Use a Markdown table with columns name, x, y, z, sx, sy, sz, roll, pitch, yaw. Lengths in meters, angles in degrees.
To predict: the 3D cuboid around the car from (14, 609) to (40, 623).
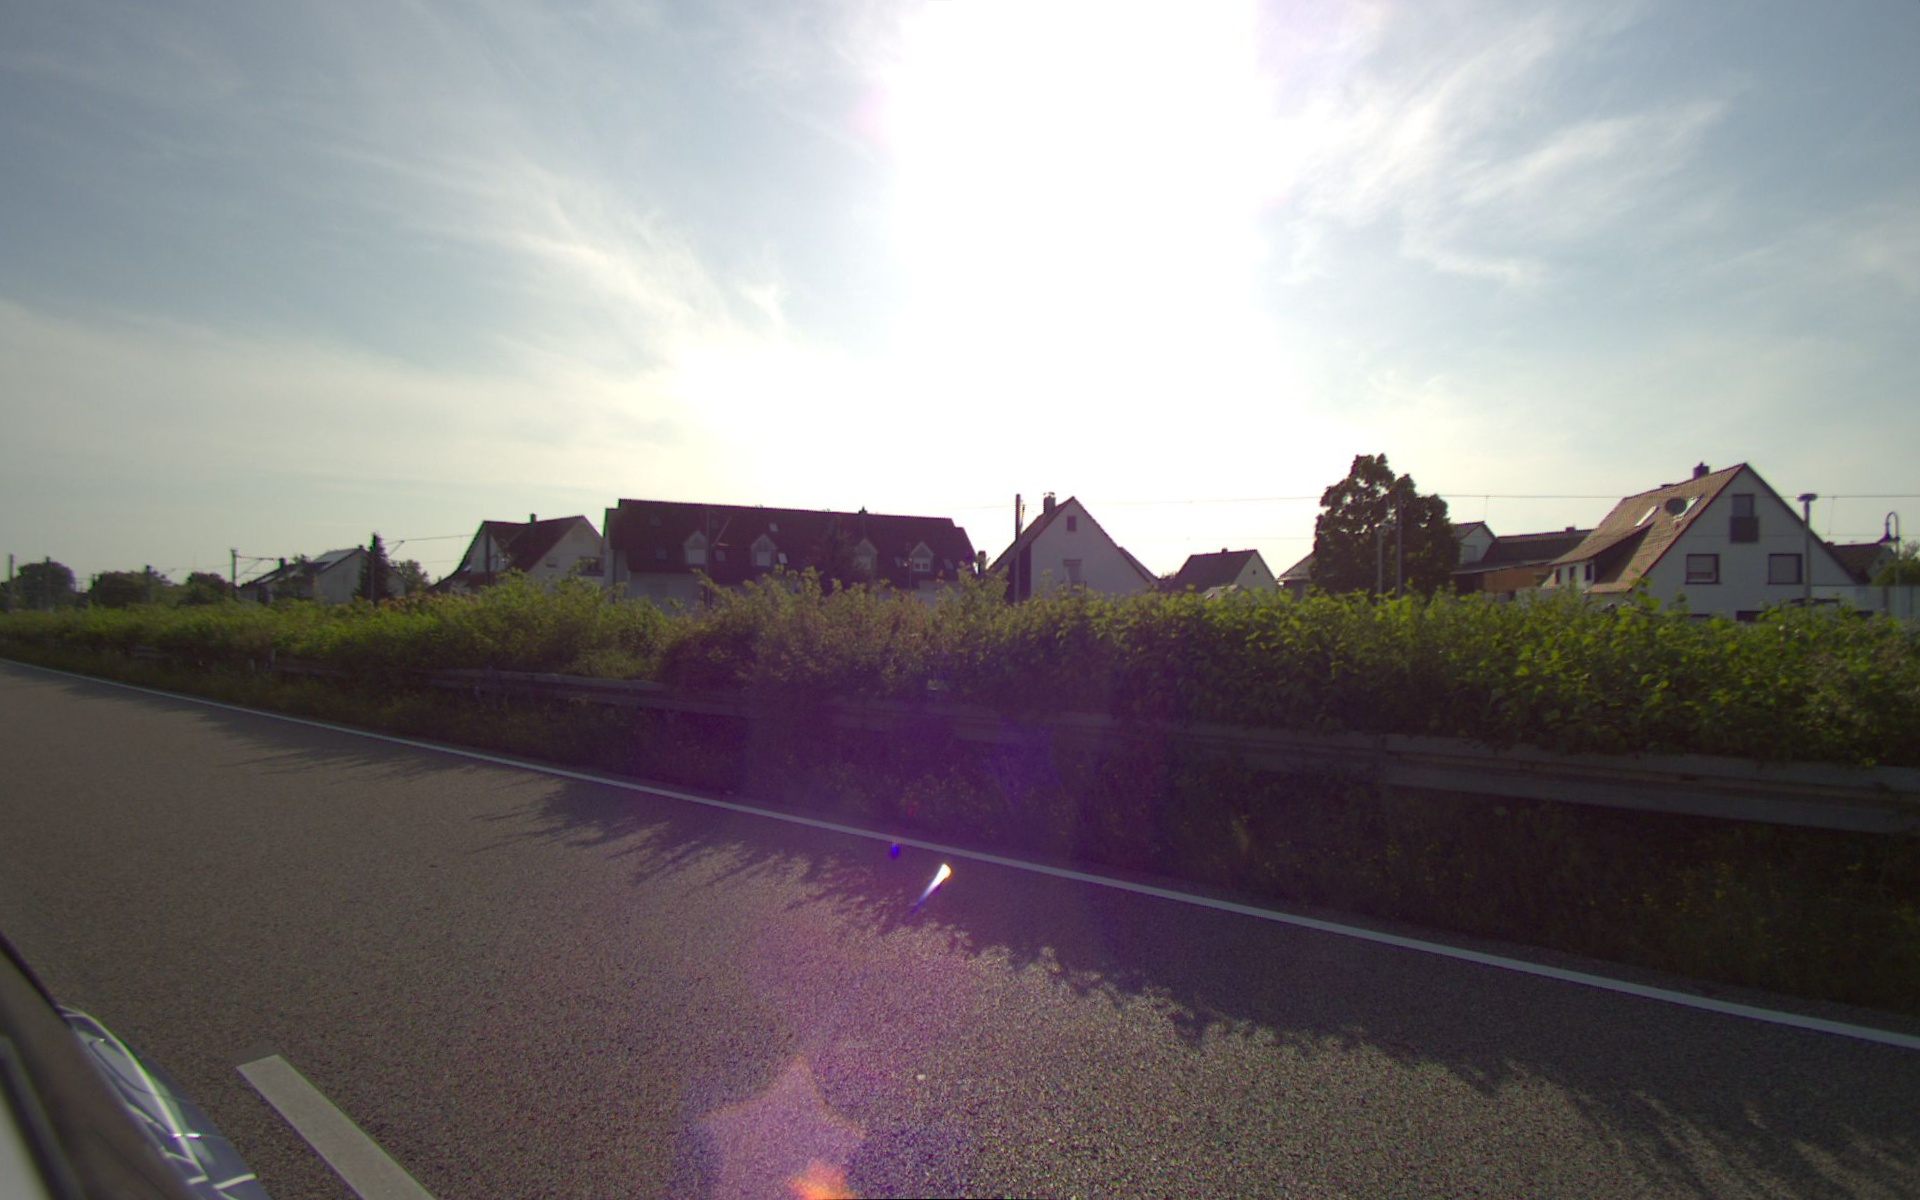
| name | x | y | z | sx | sy | sz | roll | pitch | yaw |
| --- | --- | --- | --- | --- | --- | --- | --- | --- | --- |
| car | -116.391 | 1.998 | 126.233 | 3.998 | 1.763 | 1.973 | -1 | 0 | 41 |
